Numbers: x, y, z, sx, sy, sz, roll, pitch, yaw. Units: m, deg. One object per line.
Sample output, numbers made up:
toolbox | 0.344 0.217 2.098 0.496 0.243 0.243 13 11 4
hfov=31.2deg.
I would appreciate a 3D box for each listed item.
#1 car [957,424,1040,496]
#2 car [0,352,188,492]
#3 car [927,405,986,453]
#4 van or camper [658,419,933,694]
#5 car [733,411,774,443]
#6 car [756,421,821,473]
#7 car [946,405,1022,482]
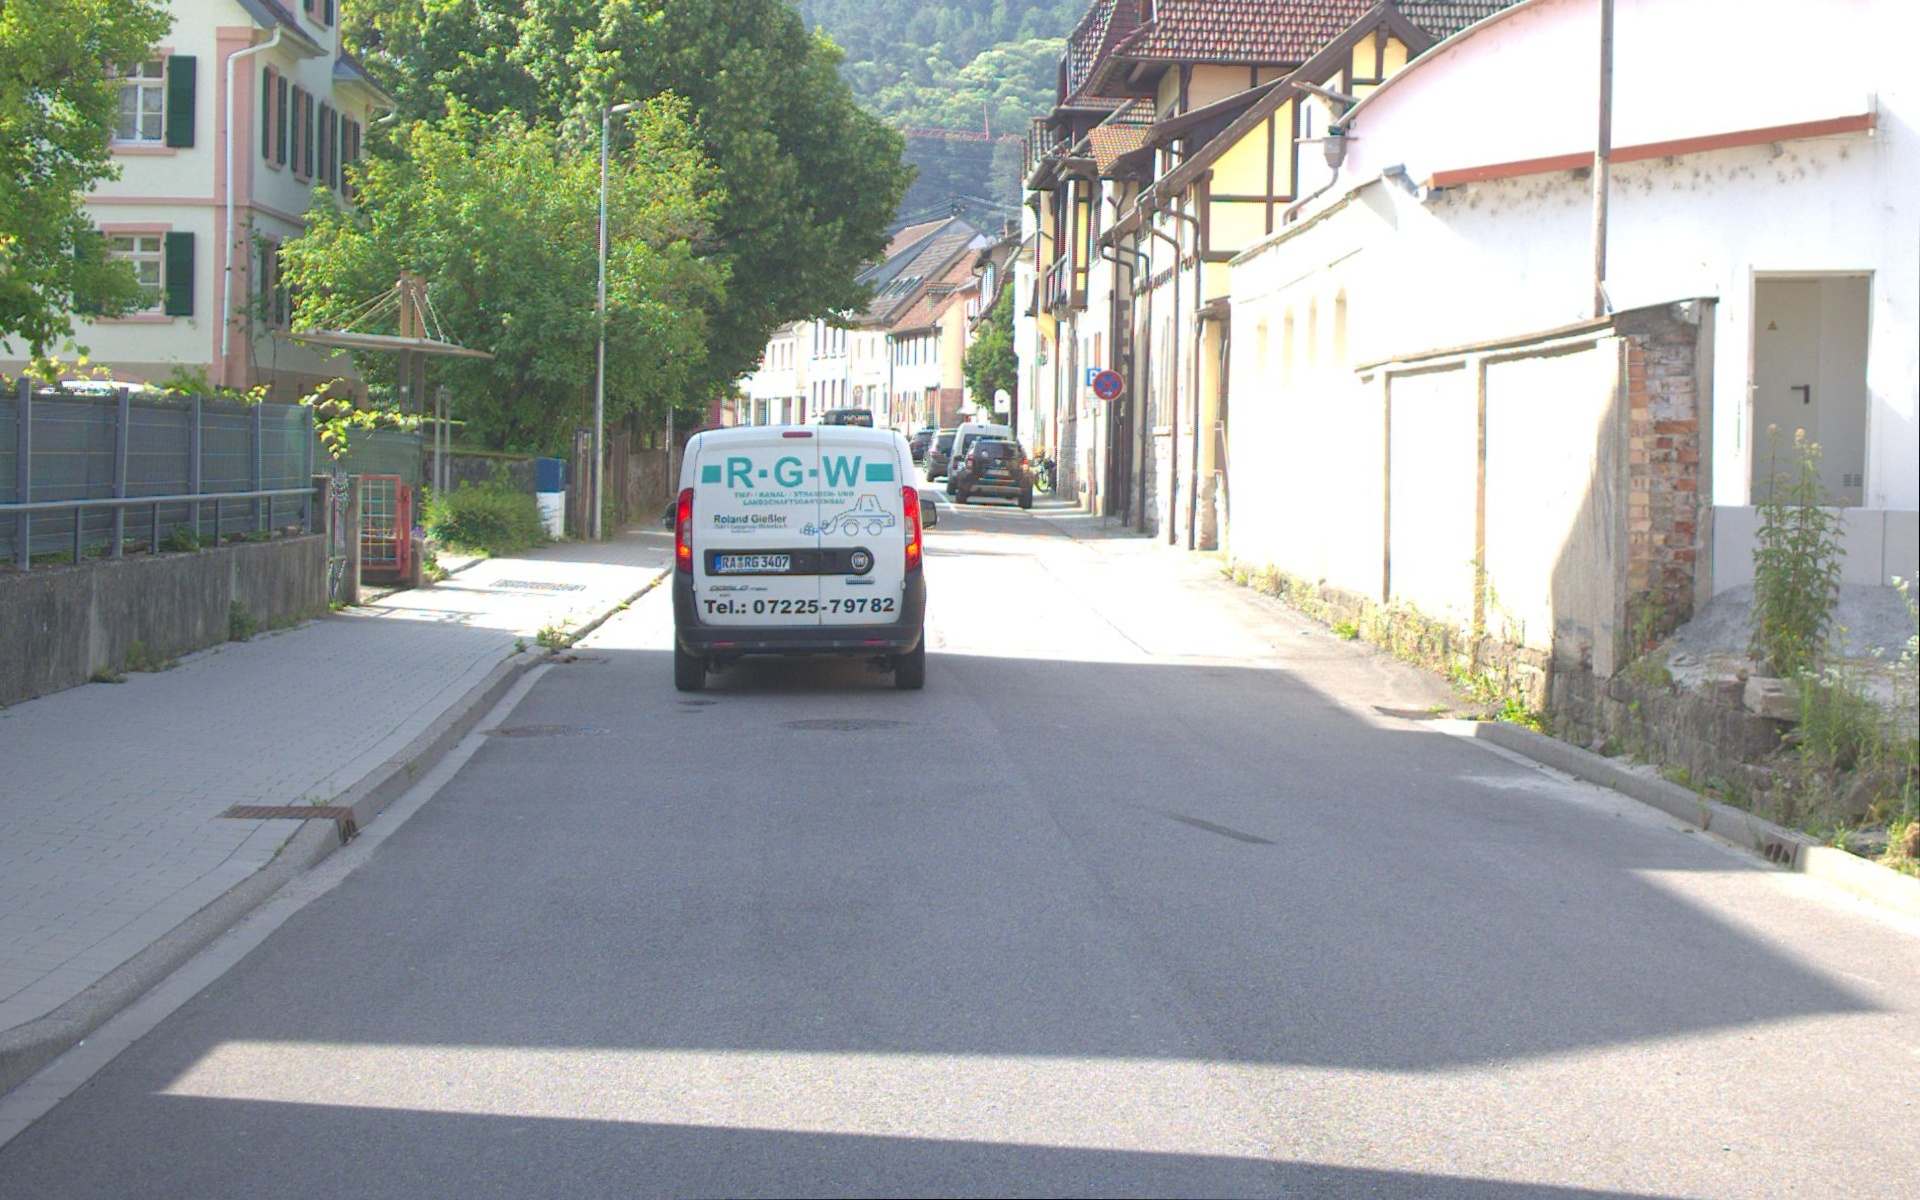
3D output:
car | 0.922 -3.449 84.196 1.810 1.591 3.928 3 3 -1
car | -12.372 -2.548 49.011 1.822 1.766 4.684 4 3 -4
car | -0.129 -5.525 110.790 1.669 1.502 4.001 0 3 -3
van or camper | -1.206 -0.401 25.300 1.828 1.838 4.189 -1 3 -3
car | -12.256 -10.246 203.506 1.771 1.792 4.002 0 3 -13
car | -9.541 -8.491 190.598 2.874 2.825 6.126 0 3 -10
car | 0.638 -4.311 94.357 1.871 2.006 4.001 2 3 -2
